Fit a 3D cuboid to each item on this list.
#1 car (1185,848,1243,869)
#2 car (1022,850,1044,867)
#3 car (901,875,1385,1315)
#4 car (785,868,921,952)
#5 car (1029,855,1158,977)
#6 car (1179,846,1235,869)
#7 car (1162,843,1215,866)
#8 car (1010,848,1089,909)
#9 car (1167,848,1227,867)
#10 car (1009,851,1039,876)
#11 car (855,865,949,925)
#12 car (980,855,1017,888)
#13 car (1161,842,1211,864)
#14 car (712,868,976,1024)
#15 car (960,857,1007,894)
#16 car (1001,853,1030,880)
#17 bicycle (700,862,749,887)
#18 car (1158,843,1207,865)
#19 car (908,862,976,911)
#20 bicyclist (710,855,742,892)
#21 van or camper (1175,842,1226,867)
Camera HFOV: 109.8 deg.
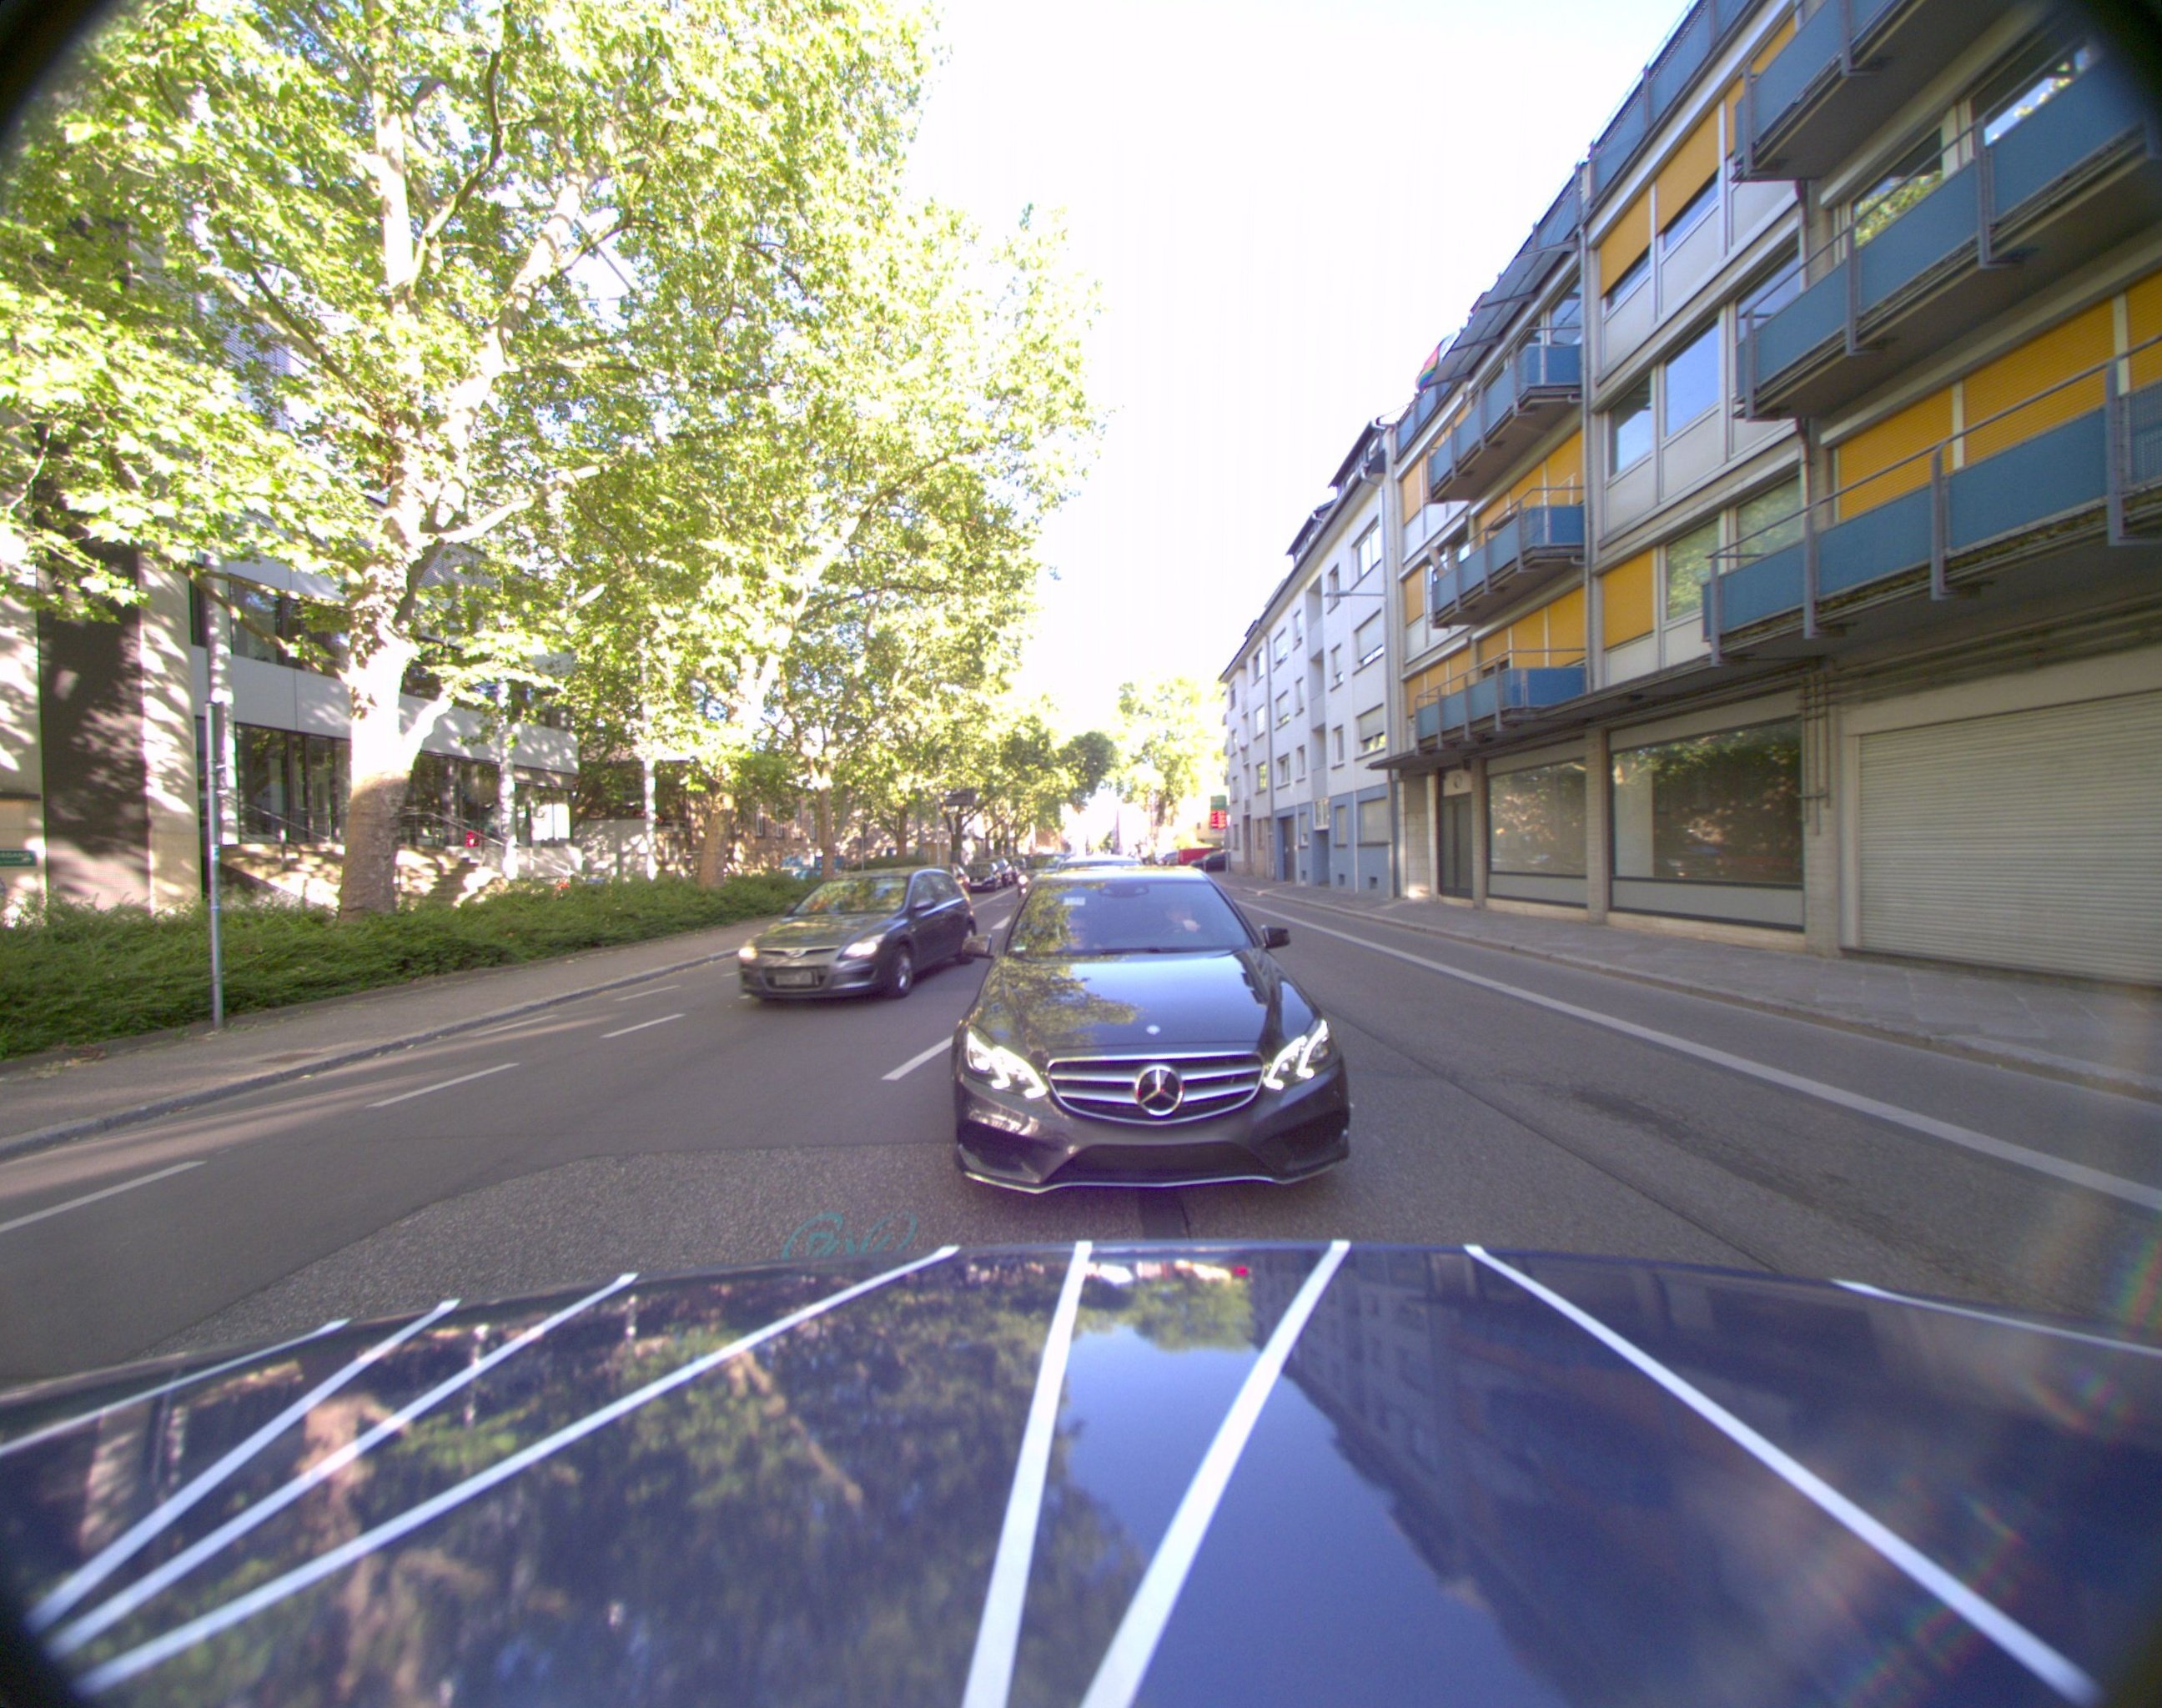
[{"bbox_3d":[10.315,0.322,58.962,4.146,1.486,2.000,-2,0,1],"label":"car"},{"bbox_3d":[-4.383,0.431,70.446,1.741,1.469,4.091,-2,0,0],"label":"car"},{"bbox_3d":[0.226,0.938,4.724,1.740,1.448,3.864,-2,0,0],"label":"car"},{"bbox_3d":[-5.125,1.186,17.703,1.830,1.519,4.142,-4,0,0],"label":"car"},{"bbox_3d":[0.202,0.834,12.544,1.646,1.520,4.619,-4,0,1],"label":"car"},{"bbox_3d":[10.138,0.267,61.293,4.146,1.681,2.000,-2,0,1],"label":"car"},{"bbox_3d":[10.914,0.023,77.340,4.990,2.181,2.000,-2,1,1],"label":"car"},{"bbox_3d":[-0.962,0.747,25.801,1.784,1.760,4.387,-4,0,9],"label":"car"},{"bbox_3d":[10.161,0.282,66.702,4.990,1.486,2.000,-2,0,1],"label":"car"},{"bbox_3d":[-4.480,0.722,59.848,1.992,1.795,4.376,-2,0,0],"label":"car"},{"bbox_3d":[-5.183,1.143,22.566,1.741,1.444,4.091,-4,0,0],"label":"car"},{"bbox_3d":[-4.550,0.926,42.339,1.634,1.677,3.907,-2,0,0],"label":"car"},{"bbox_3d":[11.034,-0.104,80.191,4.990,2.181,2.000,-2,1,1],"label":"car"},{"bbox_3d":[-2.698,0.981,9.698,1.647,1.473,3.978,-2,0,8],"label":"car"},{"bbox_3d":[-4.726,0.992,37.329,1.741,1.622,4.091,-2,0,0],"label":"car"},{"bbox_3d":[-4.683,0.886,54.804,1.741,1.785,3.895,-2,0,0],"label":"car"},{"bbox_3d":[-16.010,0.910,34.149,1.798,1.009,0.734,-2,1,0],"label":"bicycle"},{"bbox_3d":[11.038,-0.011,82.823,4.990,2.181,2.000,-2,1,1],"label":"car"},{"bbox_3d":[-5.006,1.128,27.800,1.681,1.484,3.918,-4,0,0],"label":"car"},{"bbox_3d":[-15.953,0.880,34.151,1.037,1.610,0.698,-2,1,0],"label":"bicyclist"},{"bbox_3d":[10.059,0.021,64.199,3.997,2.002,2.000,-2,1,0],"label":"van or camper"}]
